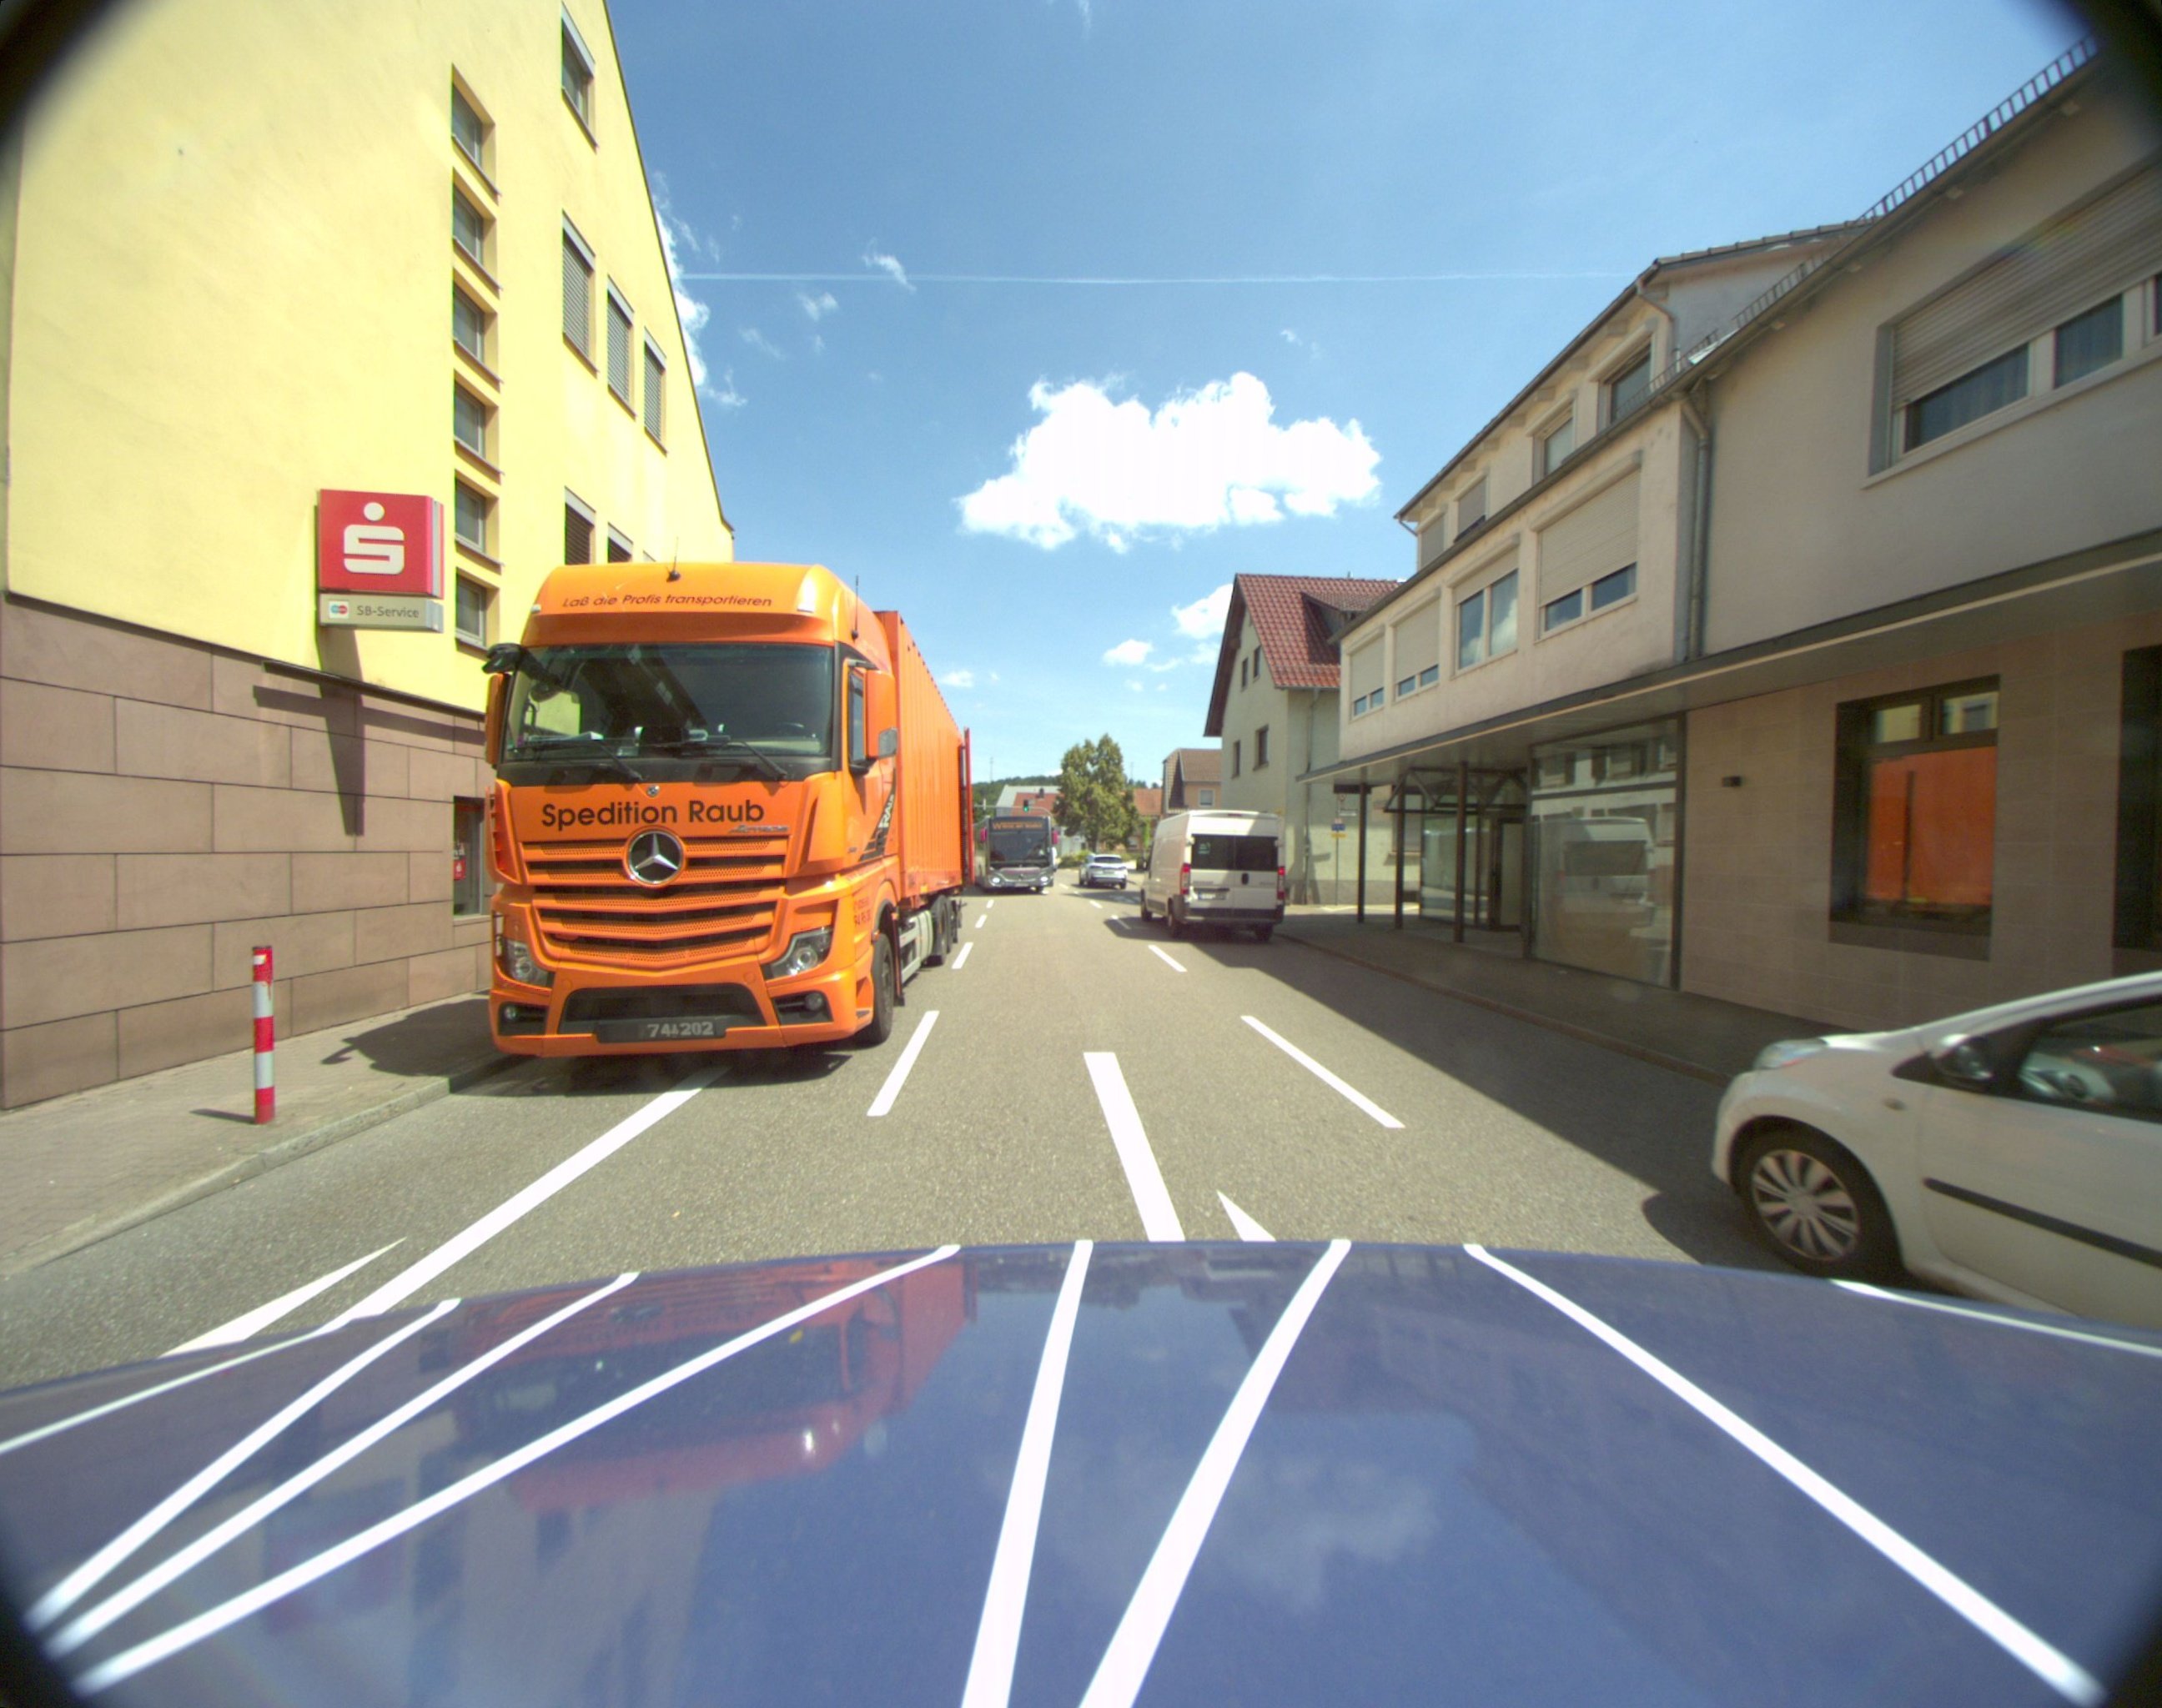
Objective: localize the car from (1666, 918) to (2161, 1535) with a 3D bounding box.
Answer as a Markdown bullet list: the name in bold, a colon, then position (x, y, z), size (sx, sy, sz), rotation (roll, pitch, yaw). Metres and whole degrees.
- **car**: position (3.612, 1.059, 1.806), size (1.601, 1.447, 3.446), rotation (2, 0, -3)

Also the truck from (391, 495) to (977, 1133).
- **truck**: position (-3.140, -0.231, 9.756), size (2.616, 3.922, 9.990), rotation (-2, 0, -3)

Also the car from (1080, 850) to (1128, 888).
- **car**: position (1.031, 0.664, 36.297), size (1.823, 1.546, 4.196), rotation (2, 1, -4)

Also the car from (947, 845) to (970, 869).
- **car**: position (-10.200, 0.208, 63.032), size (1.789, 1.819, 4.347), rotation (2, 1, -11)

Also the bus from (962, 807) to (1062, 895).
- **bus**: position (-3.960, -0.131, 36.871), size (2.862, 3.186, 19.012), rotation (-1, 0, -11)

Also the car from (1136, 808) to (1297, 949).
- **car**: position (2.718, 0.457, 16.830), size (2.146, 2.554, 5.391), rotation (2, 0, -4)

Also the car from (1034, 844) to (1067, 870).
- **car**: position (-2.360, 0.206, 57.051), size (1.789, 1.819, 4.595), rotation (2, 1, -11)
